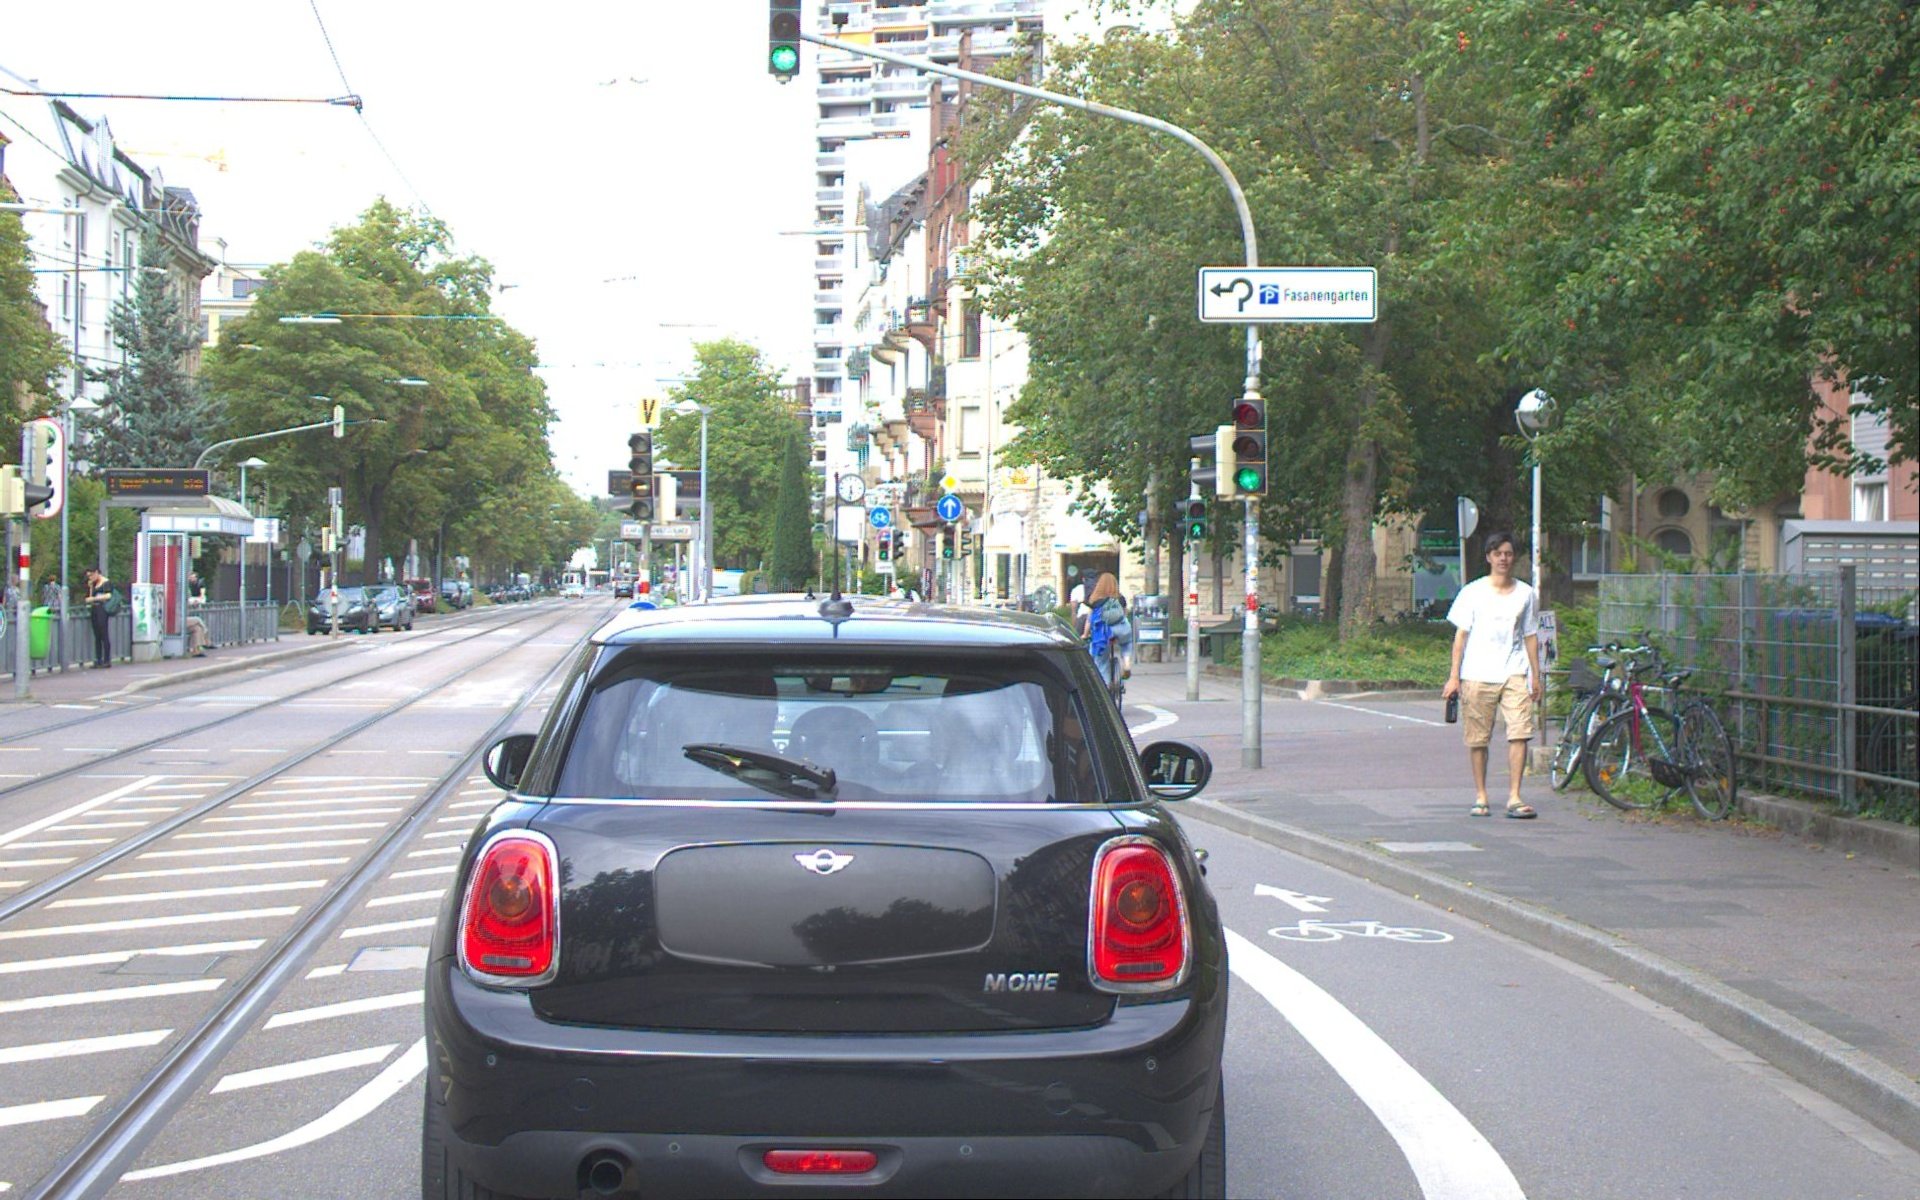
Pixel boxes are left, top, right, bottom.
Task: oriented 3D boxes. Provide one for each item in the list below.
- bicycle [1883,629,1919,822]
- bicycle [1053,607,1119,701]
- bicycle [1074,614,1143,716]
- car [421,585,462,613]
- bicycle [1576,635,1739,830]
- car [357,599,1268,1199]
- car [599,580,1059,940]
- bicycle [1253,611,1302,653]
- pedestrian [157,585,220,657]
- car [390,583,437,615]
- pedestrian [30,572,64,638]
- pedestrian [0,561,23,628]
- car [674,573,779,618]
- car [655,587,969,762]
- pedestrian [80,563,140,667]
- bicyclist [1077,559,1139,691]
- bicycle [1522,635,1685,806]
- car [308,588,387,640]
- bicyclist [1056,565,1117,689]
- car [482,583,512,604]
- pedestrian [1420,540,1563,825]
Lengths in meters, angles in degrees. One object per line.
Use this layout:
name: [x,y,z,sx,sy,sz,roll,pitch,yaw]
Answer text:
bicycle: [5.763,0.663,18.322,1.544,1.005,0.510,0,0,-6]
bicycle: [1.601,0.681,43.943,0.684,1.166,1.697,0,0,-3]
bicycle: [1.755,0.757,40.716,0.598,1.166,1.697,0,0,-5]
car: [-29.202,-0.047,193.565,1.993,1.547,4.001,1,0,-5]
bicycle: [4.219,0.783,20.890,0.508,1.085,1.550,-3,1,-5]
car: [-0.335,0.730,8.653,1.751,1.436,4.000,1,0,-1]
car: [-0.617,0.673,16.495,1.926,1.505,4.000,0,0,-2]
bicycle: [8.063,0.801,87.277,0.449,1.051,1.645,1,0,37]
pedestrian: [-13.942,0.372,62.188,1.058,1.289,0.986,1,0,-10]
car: [-27.131,-0.072,170.683,1.993,1.547,4.001,1,0,-5]
pedestrian: [-24.003,0.121,90.396,0.694,1.713,0.758,0,0,-3]
pedestrian: [-24.539,-0.142,88.316,0.832,1.697,0.733,1,0,-10]
car: [-12.042,-0.212,177.465,2.395,2.265,5.026,1,0,45]
car: [-1.235,0.614,30.804,1.752,1.436,4.477,1,0,12]
pedestrian: [-13.409,0.236,54.229,0.851,1.615,0.843,1,0,-10]
bicyclist: [1.752,0.293,40.784,0.594,1.545,1.014,0,0,-5]
bicycle: [4.406,0.806,23.636,0.671,1.102,1.672,0,0,-5]
car: [-17.855,0.394,100.351,1.751,1.436,4.000,2,0,-3]
bicyclist: [1.609,0.335,43.886,0.684,1.558,0.998,0,0,-3]
car: [-34.502,-0.493,256.280,1.993,1.547,4.001,1,0,-5]
pedestrian: [3.333,0.506,21.623,0.730,1.748,0.950,0,0,0]
